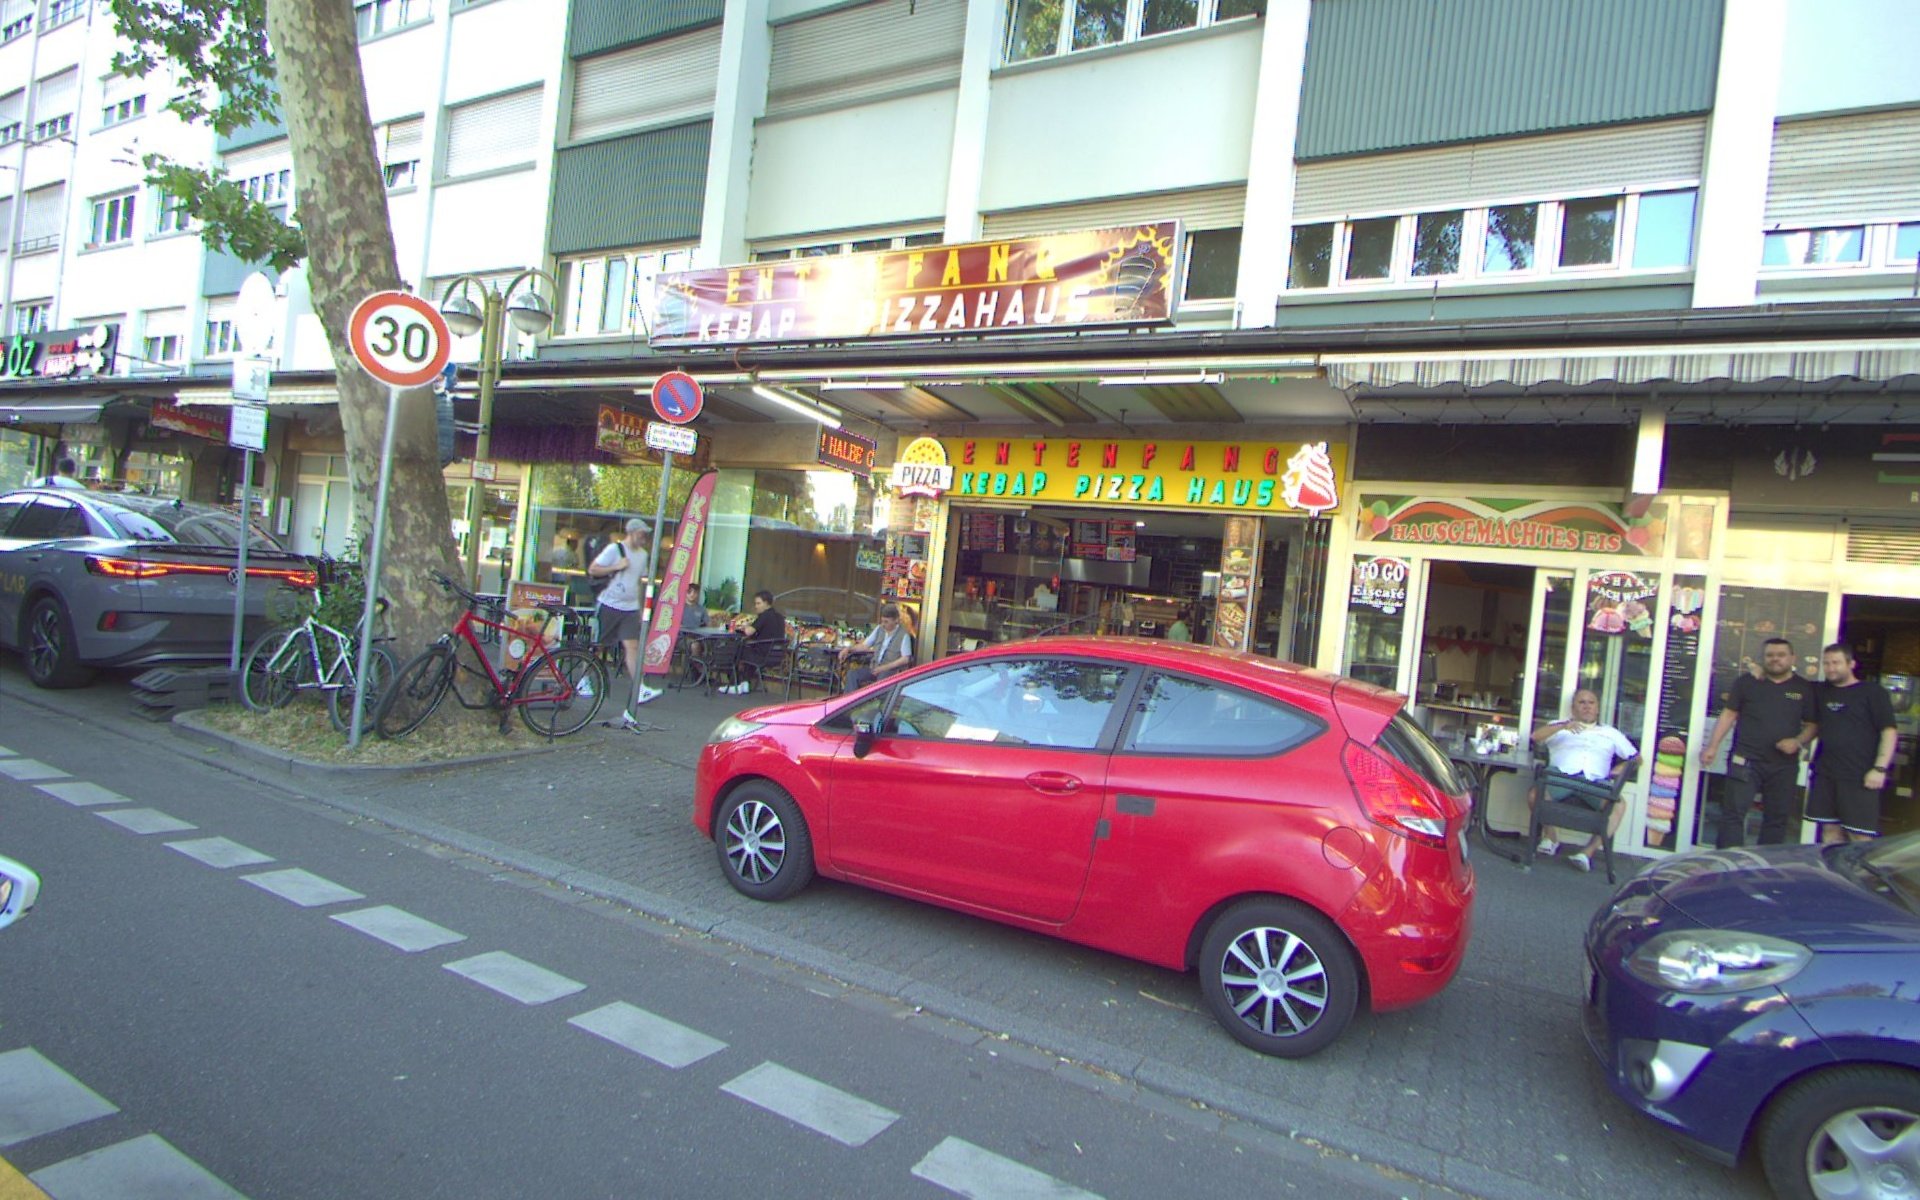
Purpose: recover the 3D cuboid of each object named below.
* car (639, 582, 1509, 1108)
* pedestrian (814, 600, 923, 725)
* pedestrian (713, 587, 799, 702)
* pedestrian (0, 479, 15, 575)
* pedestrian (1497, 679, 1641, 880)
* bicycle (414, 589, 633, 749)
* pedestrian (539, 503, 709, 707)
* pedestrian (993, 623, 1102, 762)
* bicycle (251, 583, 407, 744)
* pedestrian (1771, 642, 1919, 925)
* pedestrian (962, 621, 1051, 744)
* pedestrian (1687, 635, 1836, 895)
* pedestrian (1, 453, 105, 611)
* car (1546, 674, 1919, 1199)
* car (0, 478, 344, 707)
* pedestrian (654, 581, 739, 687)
[{"bbox_3d":[0.468,0.844,5.003,3.780,1.448,1.668,7,2,27],"label":"car"},{"bbox_3d":[-0.988,0.662,10.876,0.861,1.237,0.688,2,3,-44],"label":"pedestrian"},{"bbox_3d":[-2.399,0.510,11.808,0.701,1.260,0.614,7,3,41],"label":"pedestrian"},{"bbox_3d":[-20.822,-1.593,21.525,0.685,2.038,0.613,7,1,34],"label":"pedestrian"},{"bbox_3d":[4.627,1.295,7.632,0.767,1.249,1.202,6,3,33],"label":"pedestrian"},{"bbox_3d":[-3.242,0.503,7.568,0.291,1.082,1.455,12,7,42],"label":"bicycle"},{"bbox_3d":[-3.442,0.059,10.339,1.104,1.913,1.023,6,0,31],"label":"pedestrian"},{"bbox_3d":[0.823,0.838,9.421,0.740,1.172,0.593,6,3,33],"label":"pedestrian"},{"bbox_3d":[-4.454,0.424,7.089,1.110,0.941,0.295,9,6,21],"label":"bicycle"},{"bbox_3d":[6.205,1.216,6.958,0.636,1.783,0.610,8,3,29],"label":"pedestrian"},{"bbox_3d":[0.483,0.825,10.391,0.585,1.172,0.671,6,3,31],"label":"pedestrian"},{"bbox_3d":[5.859,1.167,7.393,0.587,1.759,0.587,8,3,32],"label":"pedestrian"},{"bbox_3d":[-12.314,-0.907,13.669,0.701,2.040,0.770,6,2,28],"label":"pedestrian"},{"bbox_3d":[3.862,1.220,2.914,3.543,1.485,1.620,7,2,29],"label":"car"},{"bbox_3d":[-7.824,-0.202,9.190,4.223,1.619,1.742,7,2,27],"label":"car"},{"bbox_3d":[-3.245,0.408,12.371,0.694,1.220,0.675,7,3,42],"label":"pedestrian"}]
